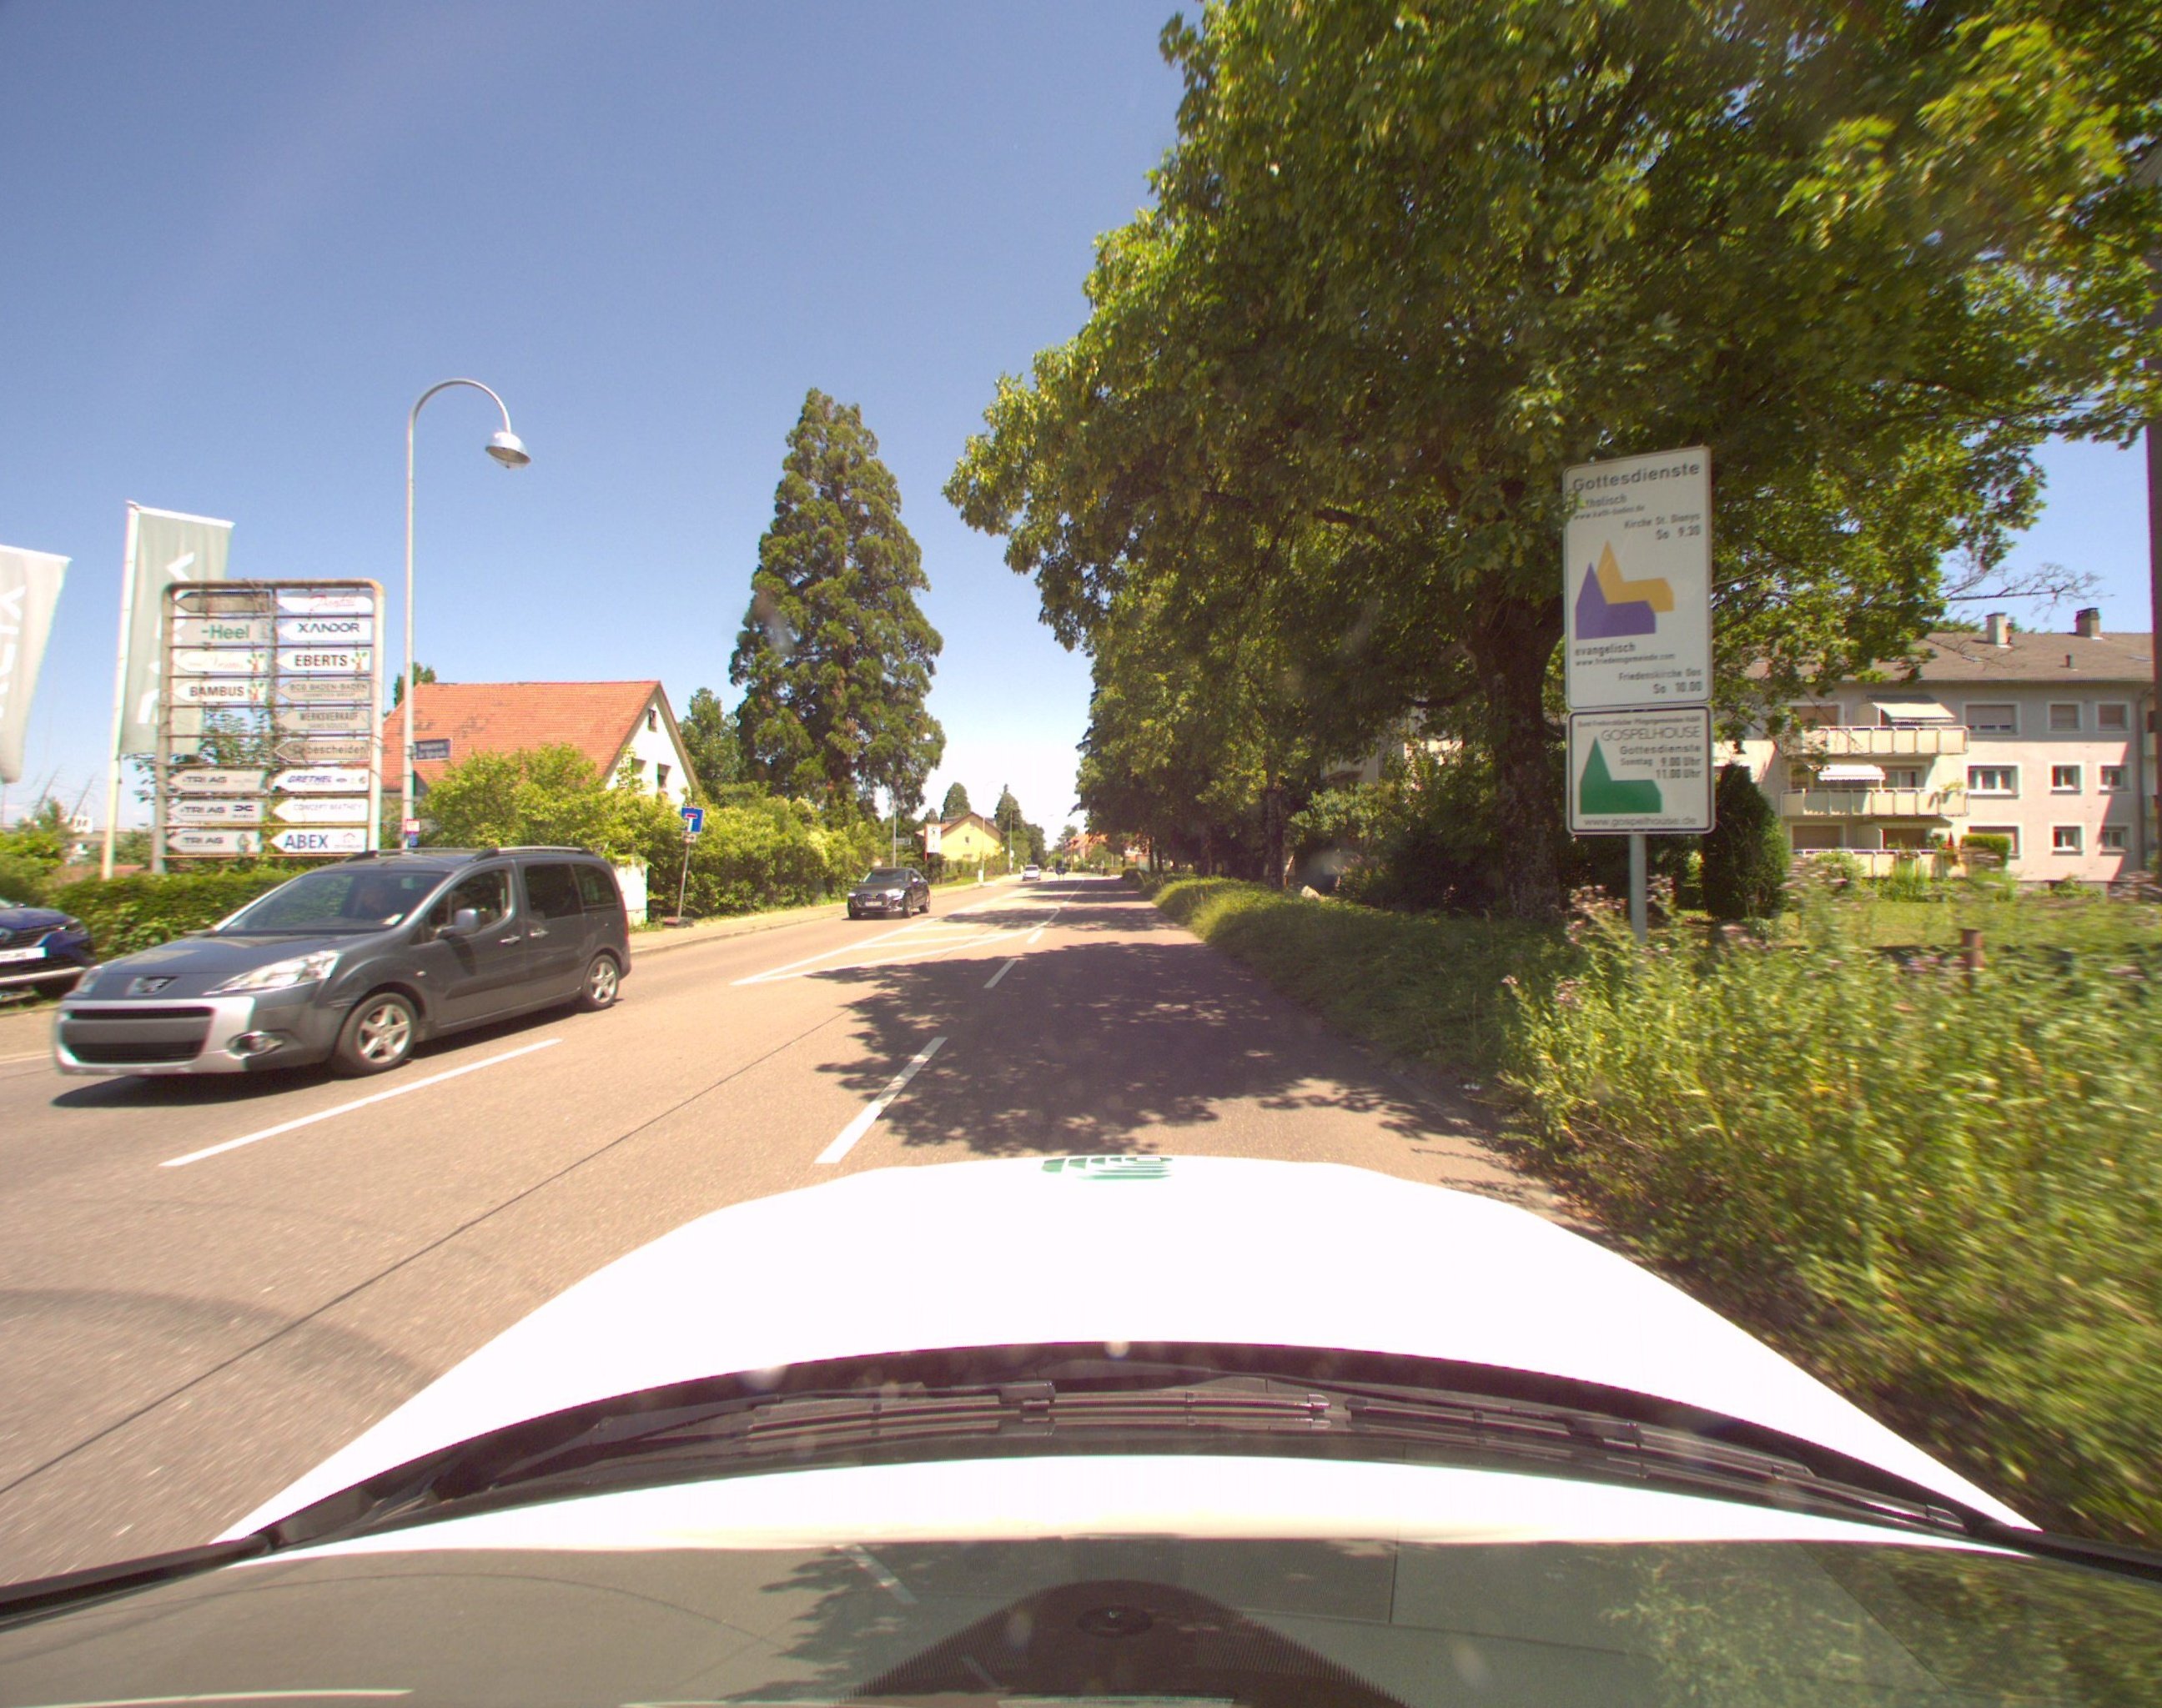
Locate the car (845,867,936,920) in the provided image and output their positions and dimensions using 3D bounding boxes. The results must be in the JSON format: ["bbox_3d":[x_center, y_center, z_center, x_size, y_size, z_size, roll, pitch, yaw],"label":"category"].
[{"bbox_3d":[-6.011,1.199,26.219,1.787,1.536,4.316,-1,-1,2],"label":"car"}]

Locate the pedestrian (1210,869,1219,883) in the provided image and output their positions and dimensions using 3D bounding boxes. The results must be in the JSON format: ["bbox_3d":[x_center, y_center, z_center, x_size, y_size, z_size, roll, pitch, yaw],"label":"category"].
[{"bbox_3d":[11.172,1.819,68.215,0.701,1.160,0.755,0,-1,5],"label":"pedestrian"}]

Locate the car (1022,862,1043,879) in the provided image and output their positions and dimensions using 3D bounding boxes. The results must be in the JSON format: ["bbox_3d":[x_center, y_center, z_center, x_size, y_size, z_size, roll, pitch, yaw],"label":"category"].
[{"bbox_3d":[-5.065,1.680,85.137,1.906,1.689,4.125,-1,-1,1],"label":"car"}]

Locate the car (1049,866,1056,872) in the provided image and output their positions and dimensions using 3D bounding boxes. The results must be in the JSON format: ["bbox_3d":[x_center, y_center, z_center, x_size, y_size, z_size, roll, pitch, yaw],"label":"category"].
[{"bbox_3d":[-8.262,4.369,238.118,1.808,1.718,4.002,0,-1,2],"label":"car"}]

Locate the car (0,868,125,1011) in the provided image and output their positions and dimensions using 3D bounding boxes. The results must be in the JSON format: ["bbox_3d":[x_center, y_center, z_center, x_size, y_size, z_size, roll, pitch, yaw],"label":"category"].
[{"bbox_3d":[-13.668,1.031,9.299,4.106,1.504,1.784,-3,1,12],"label":"car"}]

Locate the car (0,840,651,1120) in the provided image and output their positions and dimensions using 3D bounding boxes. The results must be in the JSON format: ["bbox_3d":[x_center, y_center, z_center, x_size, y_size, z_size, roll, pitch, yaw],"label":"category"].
[{"bbox_3d":[-6.157,0.804,7.550,1.804,1.762,4.571,-1,0,1],"label":"car"}]

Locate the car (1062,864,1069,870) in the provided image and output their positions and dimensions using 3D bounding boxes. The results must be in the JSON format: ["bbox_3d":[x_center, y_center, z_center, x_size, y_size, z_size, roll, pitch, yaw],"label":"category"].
[{"bbox_3d":[-4.614,3.894,238.088,1.808,1.718,4.002,0,-1,2],"label":"car"}]

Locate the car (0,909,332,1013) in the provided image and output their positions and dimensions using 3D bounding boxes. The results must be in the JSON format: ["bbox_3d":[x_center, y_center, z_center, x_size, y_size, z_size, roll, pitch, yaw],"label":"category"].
[{"bbox_3d":[-16.350,1.805,14.608,1.656,1.392,4.121,-1,-1,40],"label":"car"}]
